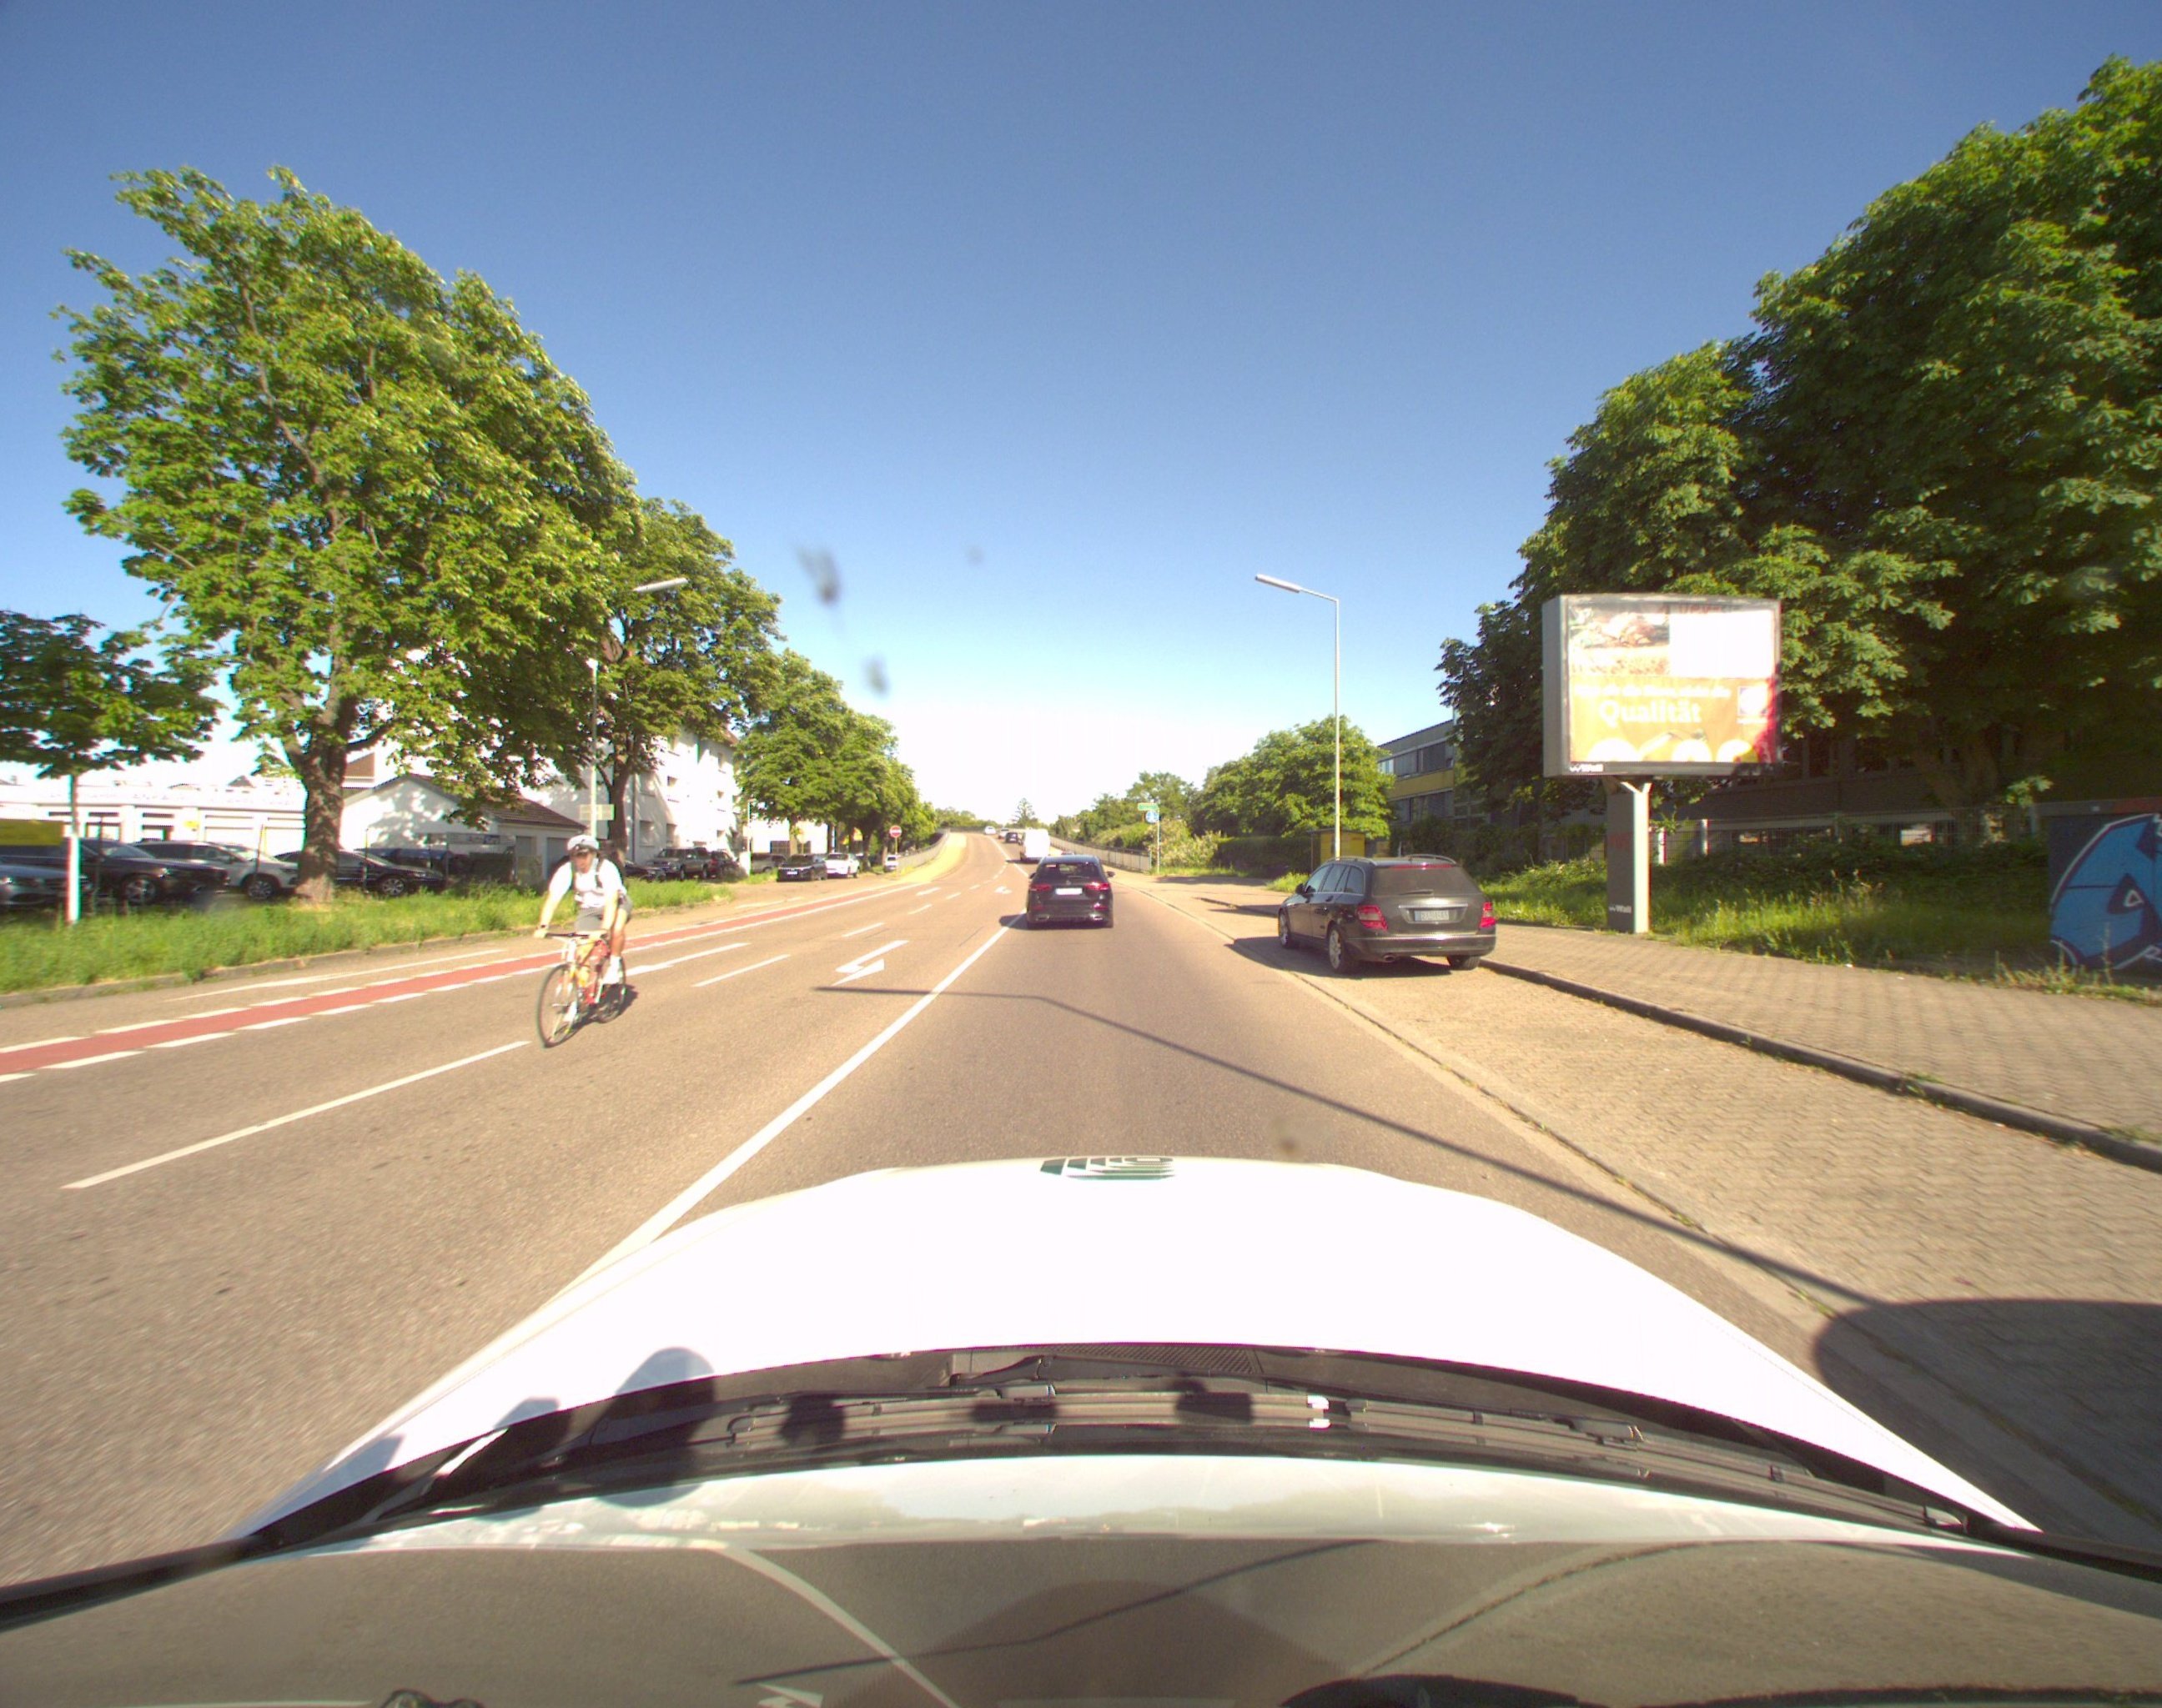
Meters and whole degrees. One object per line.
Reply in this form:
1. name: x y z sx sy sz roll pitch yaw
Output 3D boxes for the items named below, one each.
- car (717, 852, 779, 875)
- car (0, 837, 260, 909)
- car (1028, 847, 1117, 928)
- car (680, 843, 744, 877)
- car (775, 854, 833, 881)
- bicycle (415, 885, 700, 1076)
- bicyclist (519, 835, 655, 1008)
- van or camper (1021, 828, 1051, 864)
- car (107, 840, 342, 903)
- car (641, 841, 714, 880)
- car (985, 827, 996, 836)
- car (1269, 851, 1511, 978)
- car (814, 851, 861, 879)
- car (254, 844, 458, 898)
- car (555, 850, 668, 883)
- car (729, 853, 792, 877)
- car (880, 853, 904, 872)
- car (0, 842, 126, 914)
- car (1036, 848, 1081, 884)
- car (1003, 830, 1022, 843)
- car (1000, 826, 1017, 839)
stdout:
1. car: -22.593 0.601 55.253 3.683 1.510 1.766 0 1 -33
2. car: -22.654 0.408 19.310 4.002 1.560 1.986 0 1 -21
3. car: -0.203 0.662 18.015 1.765 1.592 3.987 0 0 -1
4. car: -22.136 0.346 49.057 2.067 1.930 4.777 0 0 -6
5. car: -15.573 0.729 46.012 2.035 1.464 4.951 0 0 -6
6. bicycle: -4.477 0.959 7.410 0.792 1.226 3.207 0 0 -6
7. bicyclist: -4.484 0.580 7.451 0.771 1.484 0.824 0 0 -6
8. van or camper: -3.670 -0.655 65.335 2.222 2.739 7.069 0 1 -5
9. car: -23.149 0.445 22.205 3.992 1.610 1.913 0 0 -14
10. car: -21.593 0.327 43.771 1.744 1.930 5.094 0 0 -5
11. car: -16.455 -4.153 147.918 1.877 1.543 3.986 0 1 -10
12. car: 4.019 0.684 11.459 1.802 1.419 4.425 0 0 1
13. car: -16.110 0.675 54.112 2.035 1.728 5.226 1 0 -6
14. car: -22.599 0.491 25.630 4.413 1.575 1.800 0 1 -23
15. car: -21.162 0.574 36.886 3.987 1.429 1.901 0 -1 -10
16. car: -22.872 0.758 58.098 4.009 1.597 1.982 -1 1 -28
17. car: -20.717 0.867 89.375 1.919 1.991 4.253 0 1 -3
18. car: -22.671 0.466 16.460 3.879 1.412 1.934 0 1 -19
19. car: -1.135 0.561 39.259 1.802 1.640 3.991 0 -1 -6
20. car: -8.823 -2.262 105.341 1.910 1.488 4.274 -1 -1 3
21. car: -10.777 -3.184 121.234 1.985 1.680 4.003 -1 0 3
